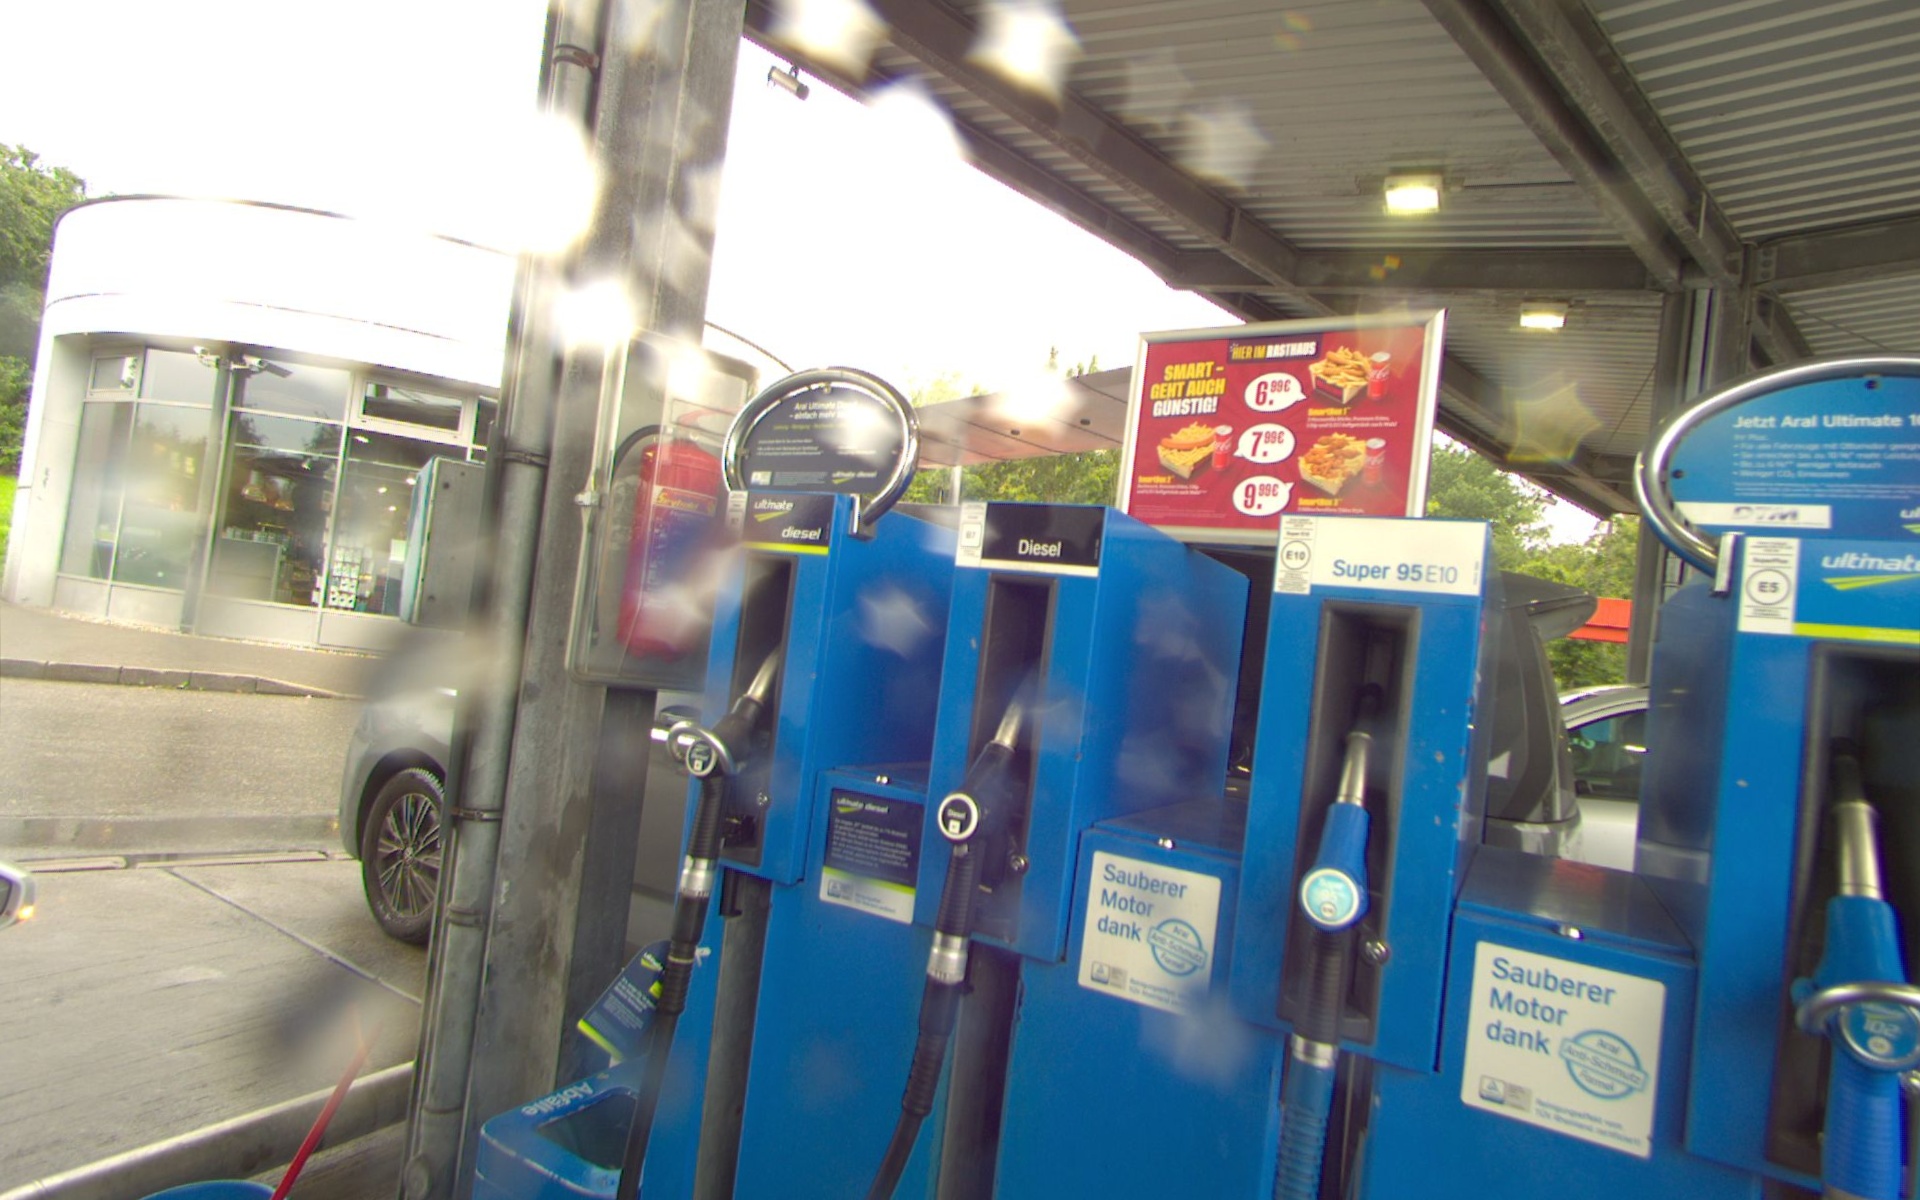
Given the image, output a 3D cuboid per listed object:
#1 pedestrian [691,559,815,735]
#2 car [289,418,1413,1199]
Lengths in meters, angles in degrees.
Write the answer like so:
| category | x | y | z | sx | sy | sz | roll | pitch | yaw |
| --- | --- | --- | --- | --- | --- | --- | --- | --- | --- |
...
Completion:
| category | x | y | z | sx | sy | sz | roll | pitch | yaw |
| --- | --- | --- | --- | --- | --- | --- | --- | --- | --- |
| pedestrian | -2.440 | 0.553 | 11.862 | 0.991 | 1.917 | 0.716 | 7 | 0 | 34 |
| car | -0.573 | 0.500 | 3.971 | 3.934 | 1.971 | 1.819 | 7 | -1 | 32 |
